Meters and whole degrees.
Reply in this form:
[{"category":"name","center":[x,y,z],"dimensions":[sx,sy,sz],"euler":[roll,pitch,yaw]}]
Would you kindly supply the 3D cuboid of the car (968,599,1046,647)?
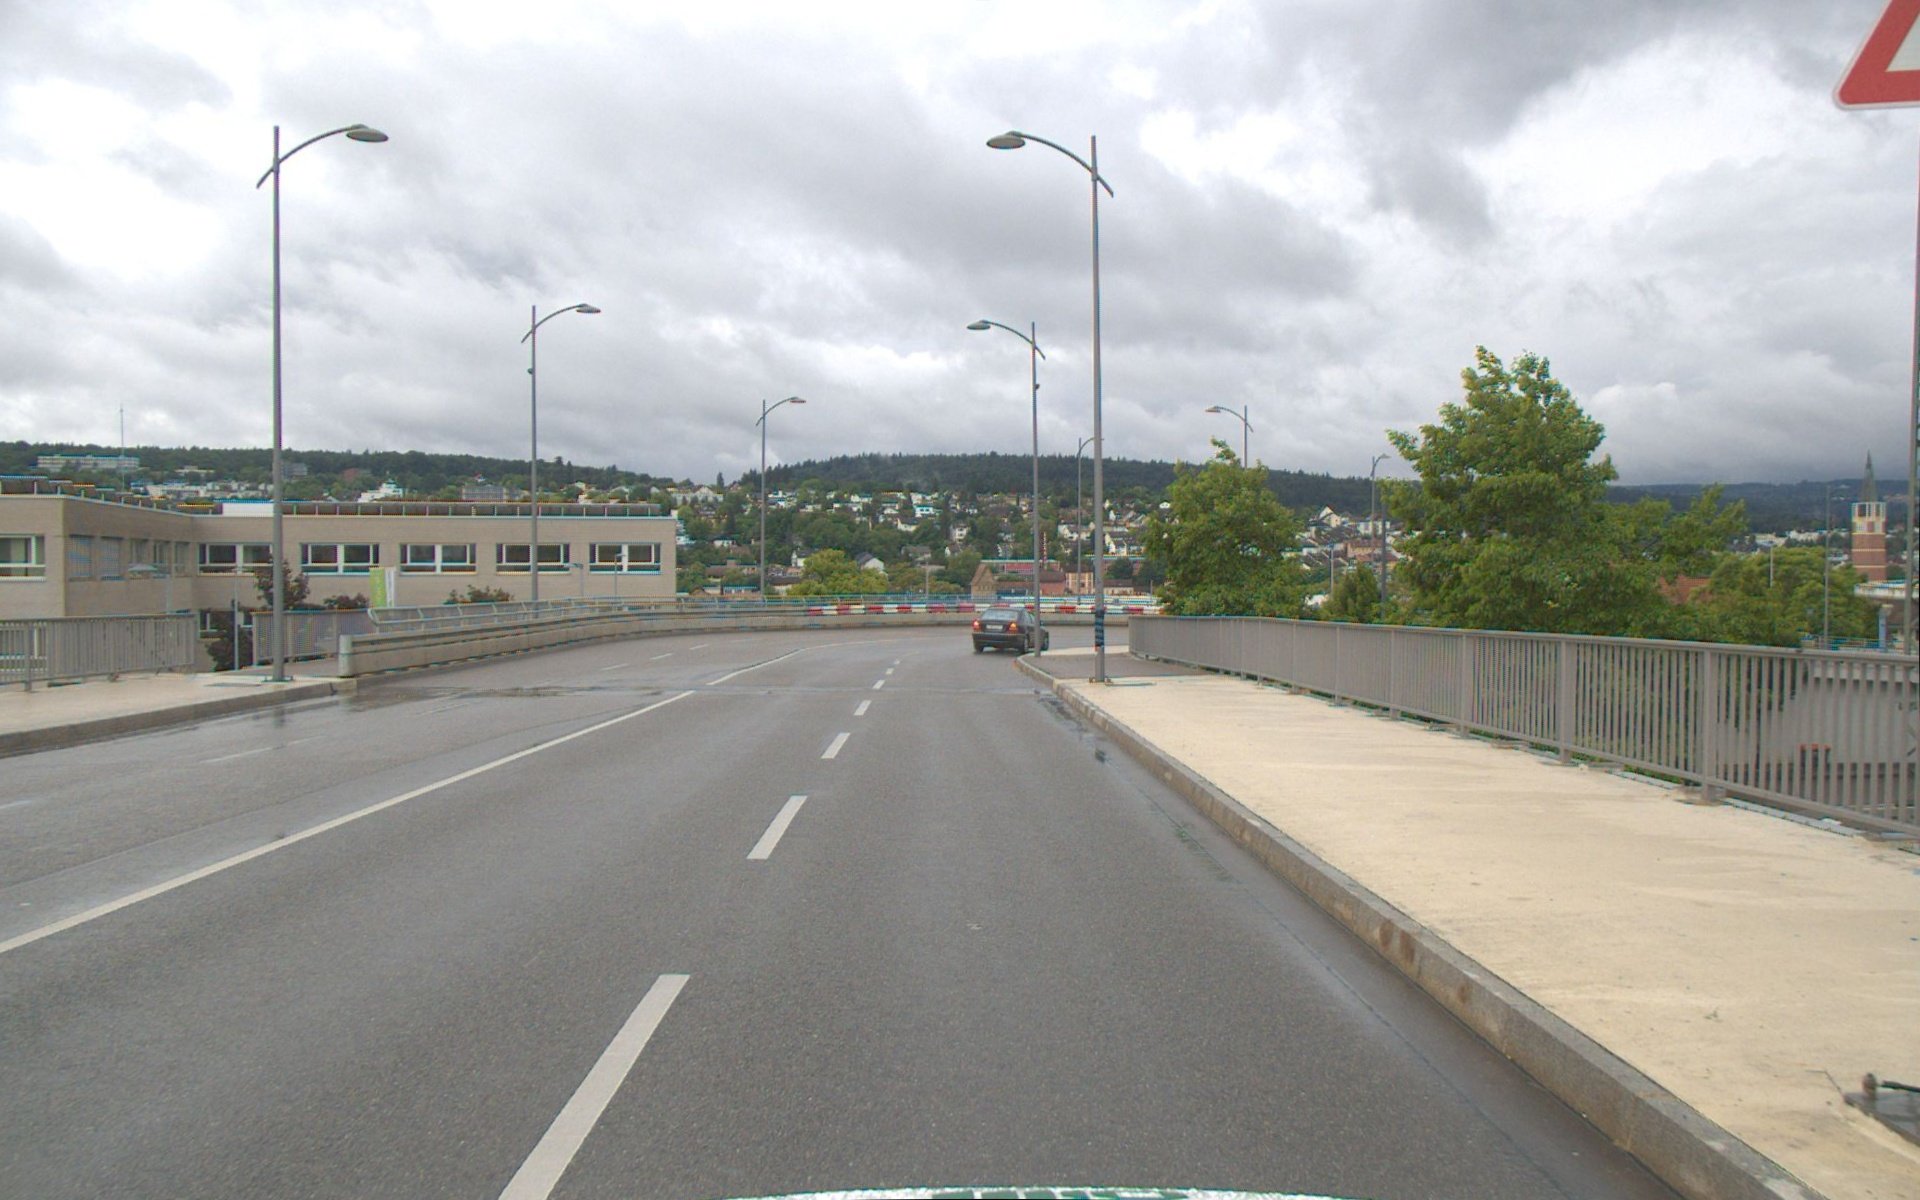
[{"category":"car","center":[1.525,0.700,52.535],"dimensions":[1.669,1.444,3.728],"euler":[1,0,14]}]
